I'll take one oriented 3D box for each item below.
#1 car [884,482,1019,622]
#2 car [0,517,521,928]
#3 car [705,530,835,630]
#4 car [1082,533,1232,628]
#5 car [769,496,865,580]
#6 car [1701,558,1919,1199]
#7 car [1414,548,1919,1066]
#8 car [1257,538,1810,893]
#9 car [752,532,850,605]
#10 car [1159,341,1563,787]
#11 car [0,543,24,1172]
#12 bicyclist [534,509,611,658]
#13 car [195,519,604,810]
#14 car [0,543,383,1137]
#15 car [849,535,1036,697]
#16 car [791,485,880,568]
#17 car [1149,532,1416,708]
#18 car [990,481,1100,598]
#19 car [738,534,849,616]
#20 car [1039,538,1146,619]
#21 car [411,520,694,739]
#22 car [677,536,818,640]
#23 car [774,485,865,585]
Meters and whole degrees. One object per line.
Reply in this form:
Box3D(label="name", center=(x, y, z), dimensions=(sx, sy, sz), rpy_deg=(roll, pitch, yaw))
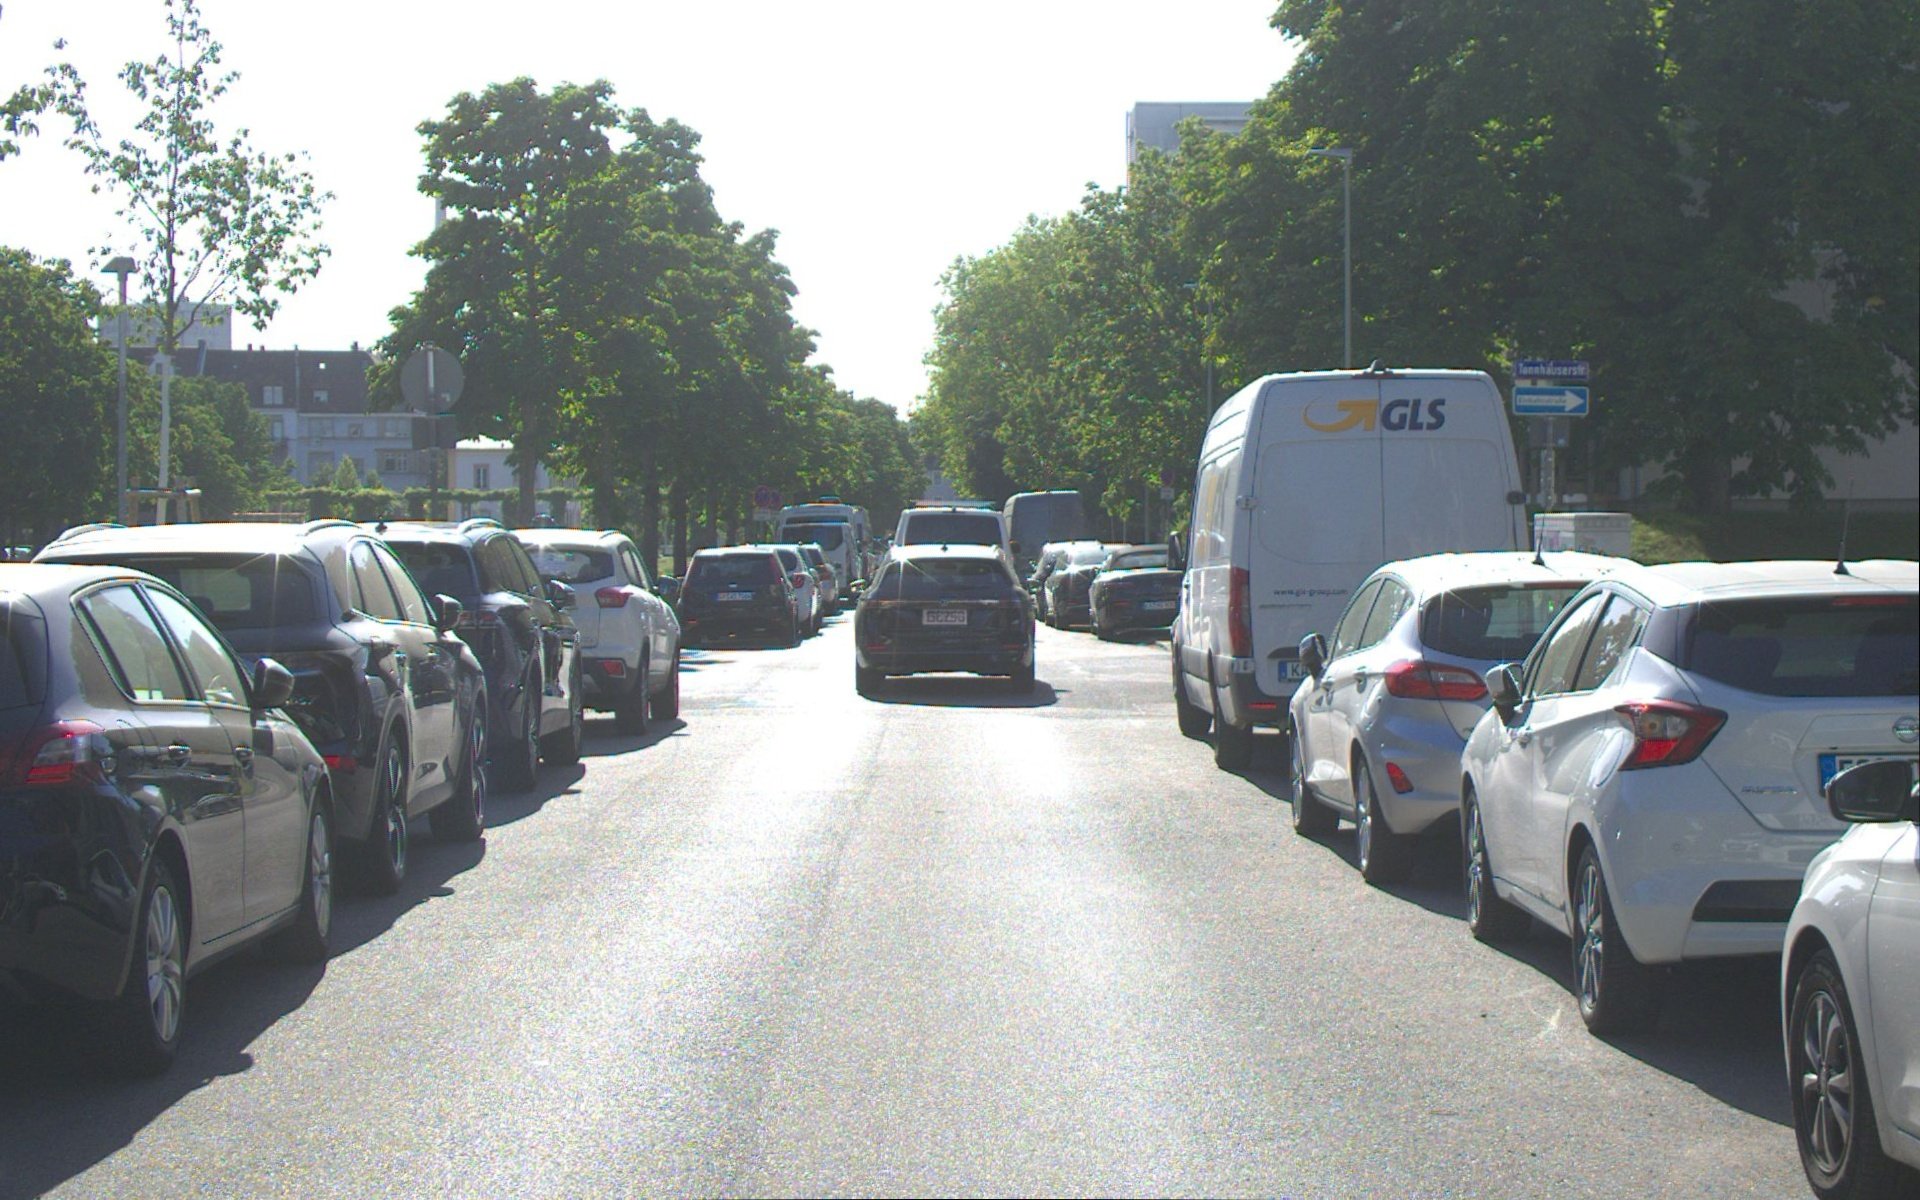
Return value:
Box3D(label="car", center=(-0.096, -0.739, 52.008), dimensions=(1.894, 1.984, 4.010), rpy_deg=(-2, 1, 1))
Box3D(label="car", center=(-3.293, 0.447, 16.189), dimensions=(1.819, 1.604, 4.739), rpy_deg=(-2, 1, 0))
Box3D(label="car", center=(-3.020, -0.328, 55.367), dimensions=(1.777, 1.490, 3.875), rpy_deg=(-2, 1, 1))
Box3D(label="car", center=(3.079, -0.335, 54.560), dimensions=(2.125, 1.333, 4.506), rpy_deg=(-3, 1, 1))
Box3D(label="car", center=(-3.361, -1.468, 81.548), dimensions=(2.098, 1.936, 4.127), rpy_deg=(0, 1, 0))
Box3D(label="car", center=(2.769, 0.650, 6.719), dimensions=(1.721, 1.430, 4.153), rpy_deg=(-1, 1, 0))
Box3D(label="car", center=(2.814, 0.575, 12.096), dimensions=(1.878, 1.470, 4.140), rpy_deg=(-1, 1, 0))
Box3D(label="car", center=(2.632, 0.459, 16.781), dimensions=(1.849, 1.461, 4.202), rpy_deg=(1, 1, -2))
Box3D(label="car", center=(-3.353, -0.694, 73.093), dimensions=(1.833, 1.495, 4.127), rpy_deg=(0, 1, 1))
Box3D(label="car", center=(2.685, -0.296, 24.739), dimensions=(2.142, 2.703, 6.841), rpy_deg=(-2, 1, 1))
Box3D(label="car", center=(-3.104, 0.684, 5.991), dimensions=(1.755, 1.487, 4.669), rpy_deg=(-2, 1, -2))
Box3D(label="bicyclist", center=(-4.194, -0.184, 37.252), dimensions=(0.788, 1.590, 0.696), rpy_deg=(0, 1, -3))
Box3D(label="car", center=(-3.489, 0.326, 22.277), dimensions=(1.842, 1.633, 4.715), rpy_deg=(-2, 1, 0))
Box3D(label="car", center=(-3.164, 0.618, 11.161), dimensions=(1.873, 1.514, 4.471), rpy_deg=(-2, 1, -1))
Box3D(label="car", center=(-0.139, 0.115, 35.155), dimensions=(1.779, 1.526, 4.000), rpy_deg=(1, 1, 1))
Box3D(label="car", center=(-4.070, -2.423, 113.408), dimensions=(2.616, 2.636, 6.114), rpy_deg=(0, 1, 1))
Box3D(label="car", center=(2.954, 0.135, 32.403), dimensions=(1.958, 1.476, 4.499), rpy_deg=(-2, 1, -1))
Box3D(label="car", center=(1.979, -1.463, 82.049), dimensions=(2.162, 2.680, 5.417), rpy_deg=(0, 1, -3))
Box3D(label="car", center=(-3.036, -0.485, 63.295), dimensions=(1.779, 1.456, 4.127), rpy_deg=(0, 1, 1))
Box3D(label="car", center=(2.303, -0.401, 60.518), dimensions=(1.779, 1.366, 4.127), rpy_deg=(0, 1, 1))
Box3D(label="car", center=(-3.325, 0.183, 28.795), dimensions=(1.756, 1.641, 4.287), rpy_deg=(-2, 1, 1))
Box3D(label="car", center=(-3.102, -0.188, 50.847), dimensions=(1.748, 1.420, 3.916), rpy_deg=(-2, 0, 1))
Box3D(label="car", center=(-3.567, -1.658, 87.957), dimensions=(2.098, 2.487, 4.127), rpy_deg=(0, 1, 1))
